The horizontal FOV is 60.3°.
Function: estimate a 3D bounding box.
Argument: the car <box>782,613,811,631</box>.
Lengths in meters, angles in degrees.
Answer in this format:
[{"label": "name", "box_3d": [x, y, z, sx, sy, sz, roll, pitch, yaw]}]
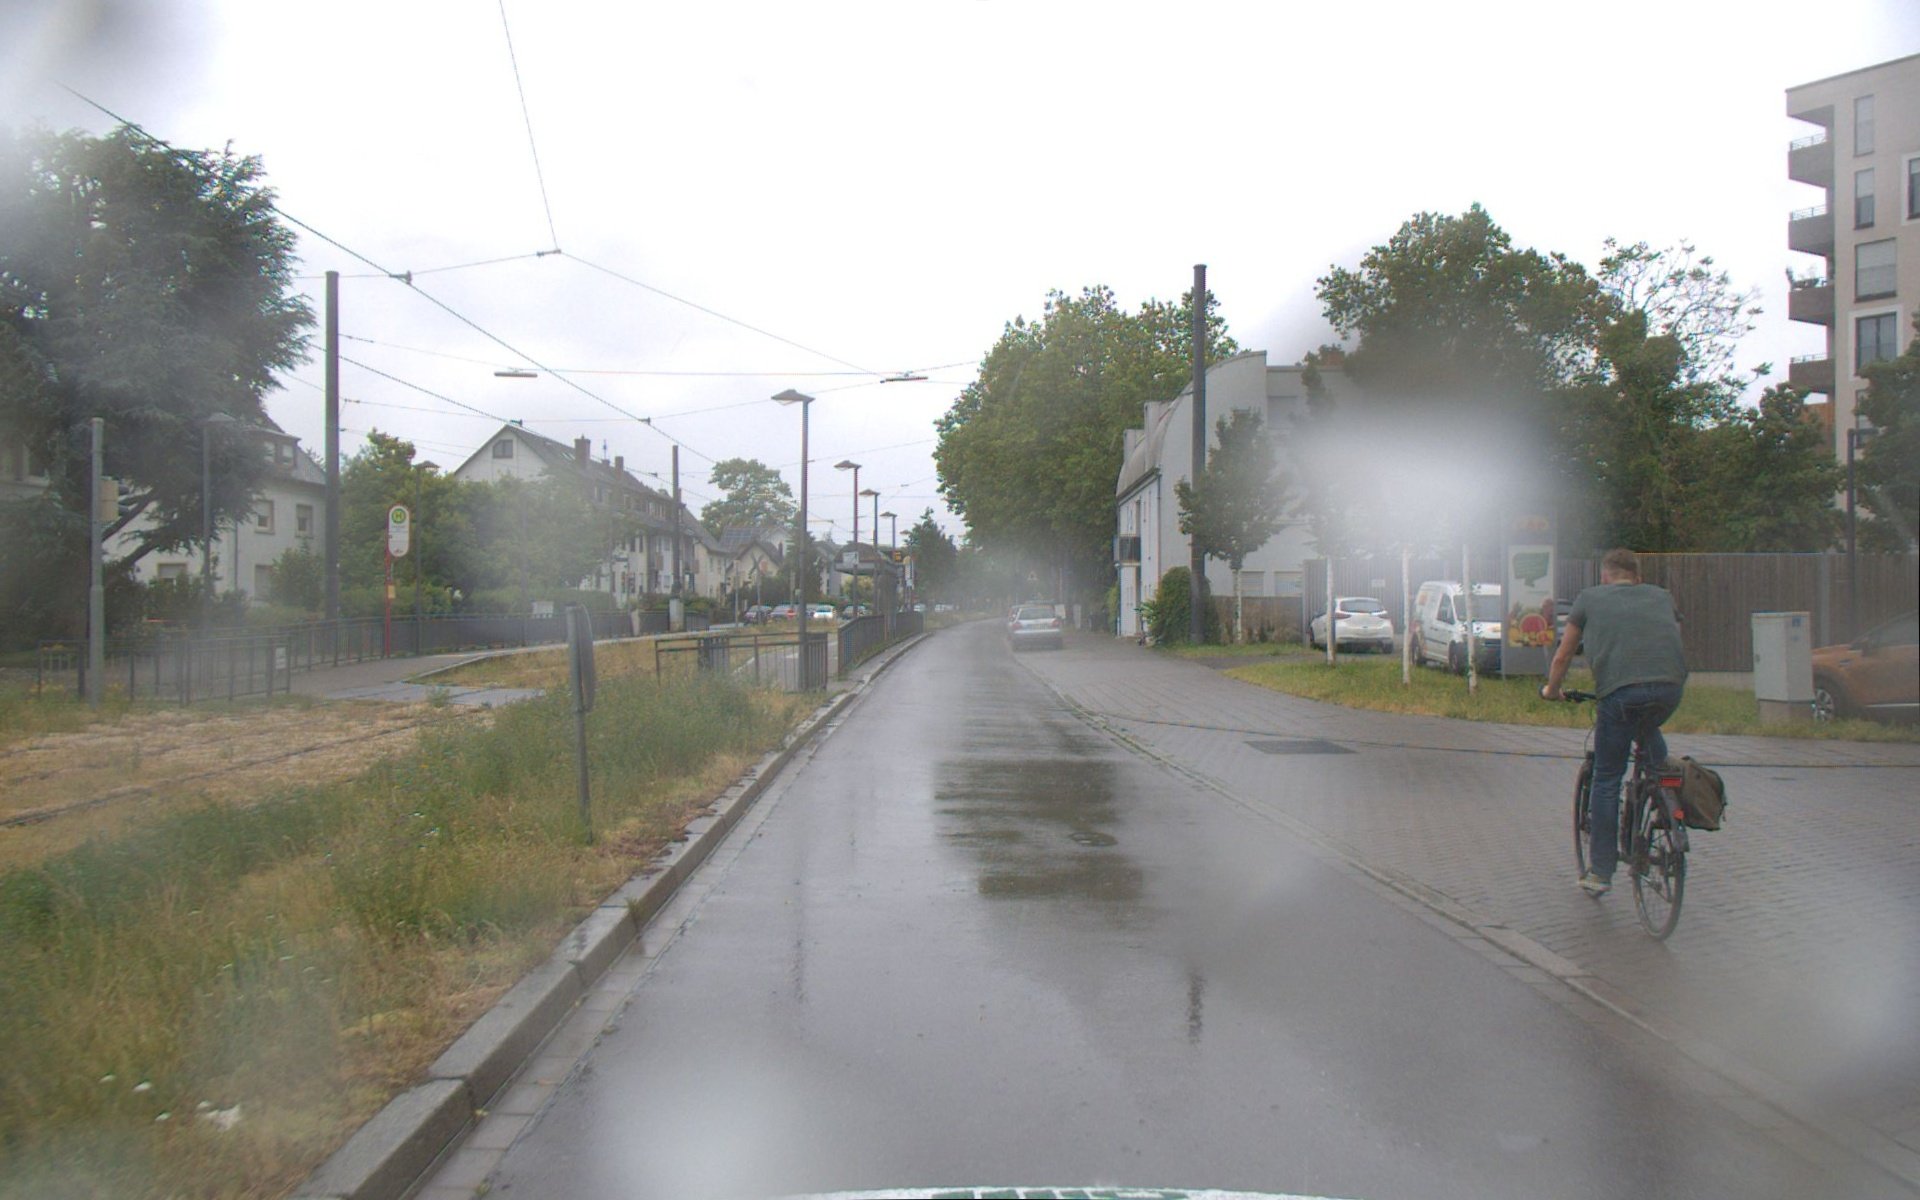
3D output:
[{"label": "car", "box_3d": [-14.355, 1.944, 145.114, 1.888, 1.512, 4.001, 1, -1, 4]}]

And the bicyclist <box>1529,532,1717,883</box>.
[{"label": "bicyclist", "box_3d": [3.154, 0.496, 7.913, 0.524, 1.587, 0.771, 1, -1, -8]}]

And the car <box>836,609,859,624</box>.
[{"label": "car", "box_3d": [-11.919, 1.798, 174.894, 1.888, 1.512, 4.001, 1, -1, 4]}]

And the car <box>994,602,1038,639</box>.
[{"label": "car", "box_3d": [2.437, 0.899, 72.413, 1.770, 1.493, 3.794, -3, -1, 1]}]

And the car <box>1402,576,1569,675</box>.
[{"label": "car", "box_3d": [10.431, 0.455, 33.234, 1.922, 1.815, 4.898, 1, 0, 2]}]

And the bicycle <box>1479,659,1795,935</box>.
[{"label": "bicycle", "box_3d": [3.154, 0.864, 7.922, 0.526, 1.112, 1.945, 1, -1, -7]}]

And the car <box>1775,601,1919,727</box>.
[{"label": "car", "box_3d": [12.114, 0.763, 19.685, 1.971, 1.466, 3.962, 1, -1, -28]}]

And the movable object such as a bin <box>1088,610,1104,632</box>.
[{"label": "movable object such as a bin", "box_3d": [6.698, 1.041, 81.668, 0.678, 1.040, 0.824, -2, -1, 0]}]

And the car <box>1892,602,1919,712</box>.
[{"label": "car", "box_3d": [14.439, 0.771, 21.179, 1.971, 1.466, 3.962, 1, -1, -28]}]

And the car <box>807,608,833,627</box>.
[{"label": "car", "box_3d": [-11.449, 1.438, 135.307, 1.599, 1.519, 4.000, 1, -1, 1]}]

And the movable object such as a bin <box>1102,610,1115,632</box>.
[{"label": "movable object such as a bin", "box_3d": [7.272, 1.042, 80.962, 0.525, 1.040, 0.738, -2, -1, 0]}]

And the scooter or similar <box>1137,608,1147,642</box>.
[{"label": "scooter or similar", "box_3d": [6.059, 0.835, 55.049, 0.326, 1.104, 1.396, 1, -1, 6]}]

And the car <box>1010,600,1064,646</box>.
[{"label": "car", "box_3d": [2.575, 0.788, 56.286, 1.616, 1.430, 4.649, -3, -1, 1]}]

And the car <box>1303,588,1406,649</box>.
[{"label": "car", "box_3d": [10.814, 0.462, 45.594, 1.922, 1.561, 4.365, 1, 0, 2]}]
